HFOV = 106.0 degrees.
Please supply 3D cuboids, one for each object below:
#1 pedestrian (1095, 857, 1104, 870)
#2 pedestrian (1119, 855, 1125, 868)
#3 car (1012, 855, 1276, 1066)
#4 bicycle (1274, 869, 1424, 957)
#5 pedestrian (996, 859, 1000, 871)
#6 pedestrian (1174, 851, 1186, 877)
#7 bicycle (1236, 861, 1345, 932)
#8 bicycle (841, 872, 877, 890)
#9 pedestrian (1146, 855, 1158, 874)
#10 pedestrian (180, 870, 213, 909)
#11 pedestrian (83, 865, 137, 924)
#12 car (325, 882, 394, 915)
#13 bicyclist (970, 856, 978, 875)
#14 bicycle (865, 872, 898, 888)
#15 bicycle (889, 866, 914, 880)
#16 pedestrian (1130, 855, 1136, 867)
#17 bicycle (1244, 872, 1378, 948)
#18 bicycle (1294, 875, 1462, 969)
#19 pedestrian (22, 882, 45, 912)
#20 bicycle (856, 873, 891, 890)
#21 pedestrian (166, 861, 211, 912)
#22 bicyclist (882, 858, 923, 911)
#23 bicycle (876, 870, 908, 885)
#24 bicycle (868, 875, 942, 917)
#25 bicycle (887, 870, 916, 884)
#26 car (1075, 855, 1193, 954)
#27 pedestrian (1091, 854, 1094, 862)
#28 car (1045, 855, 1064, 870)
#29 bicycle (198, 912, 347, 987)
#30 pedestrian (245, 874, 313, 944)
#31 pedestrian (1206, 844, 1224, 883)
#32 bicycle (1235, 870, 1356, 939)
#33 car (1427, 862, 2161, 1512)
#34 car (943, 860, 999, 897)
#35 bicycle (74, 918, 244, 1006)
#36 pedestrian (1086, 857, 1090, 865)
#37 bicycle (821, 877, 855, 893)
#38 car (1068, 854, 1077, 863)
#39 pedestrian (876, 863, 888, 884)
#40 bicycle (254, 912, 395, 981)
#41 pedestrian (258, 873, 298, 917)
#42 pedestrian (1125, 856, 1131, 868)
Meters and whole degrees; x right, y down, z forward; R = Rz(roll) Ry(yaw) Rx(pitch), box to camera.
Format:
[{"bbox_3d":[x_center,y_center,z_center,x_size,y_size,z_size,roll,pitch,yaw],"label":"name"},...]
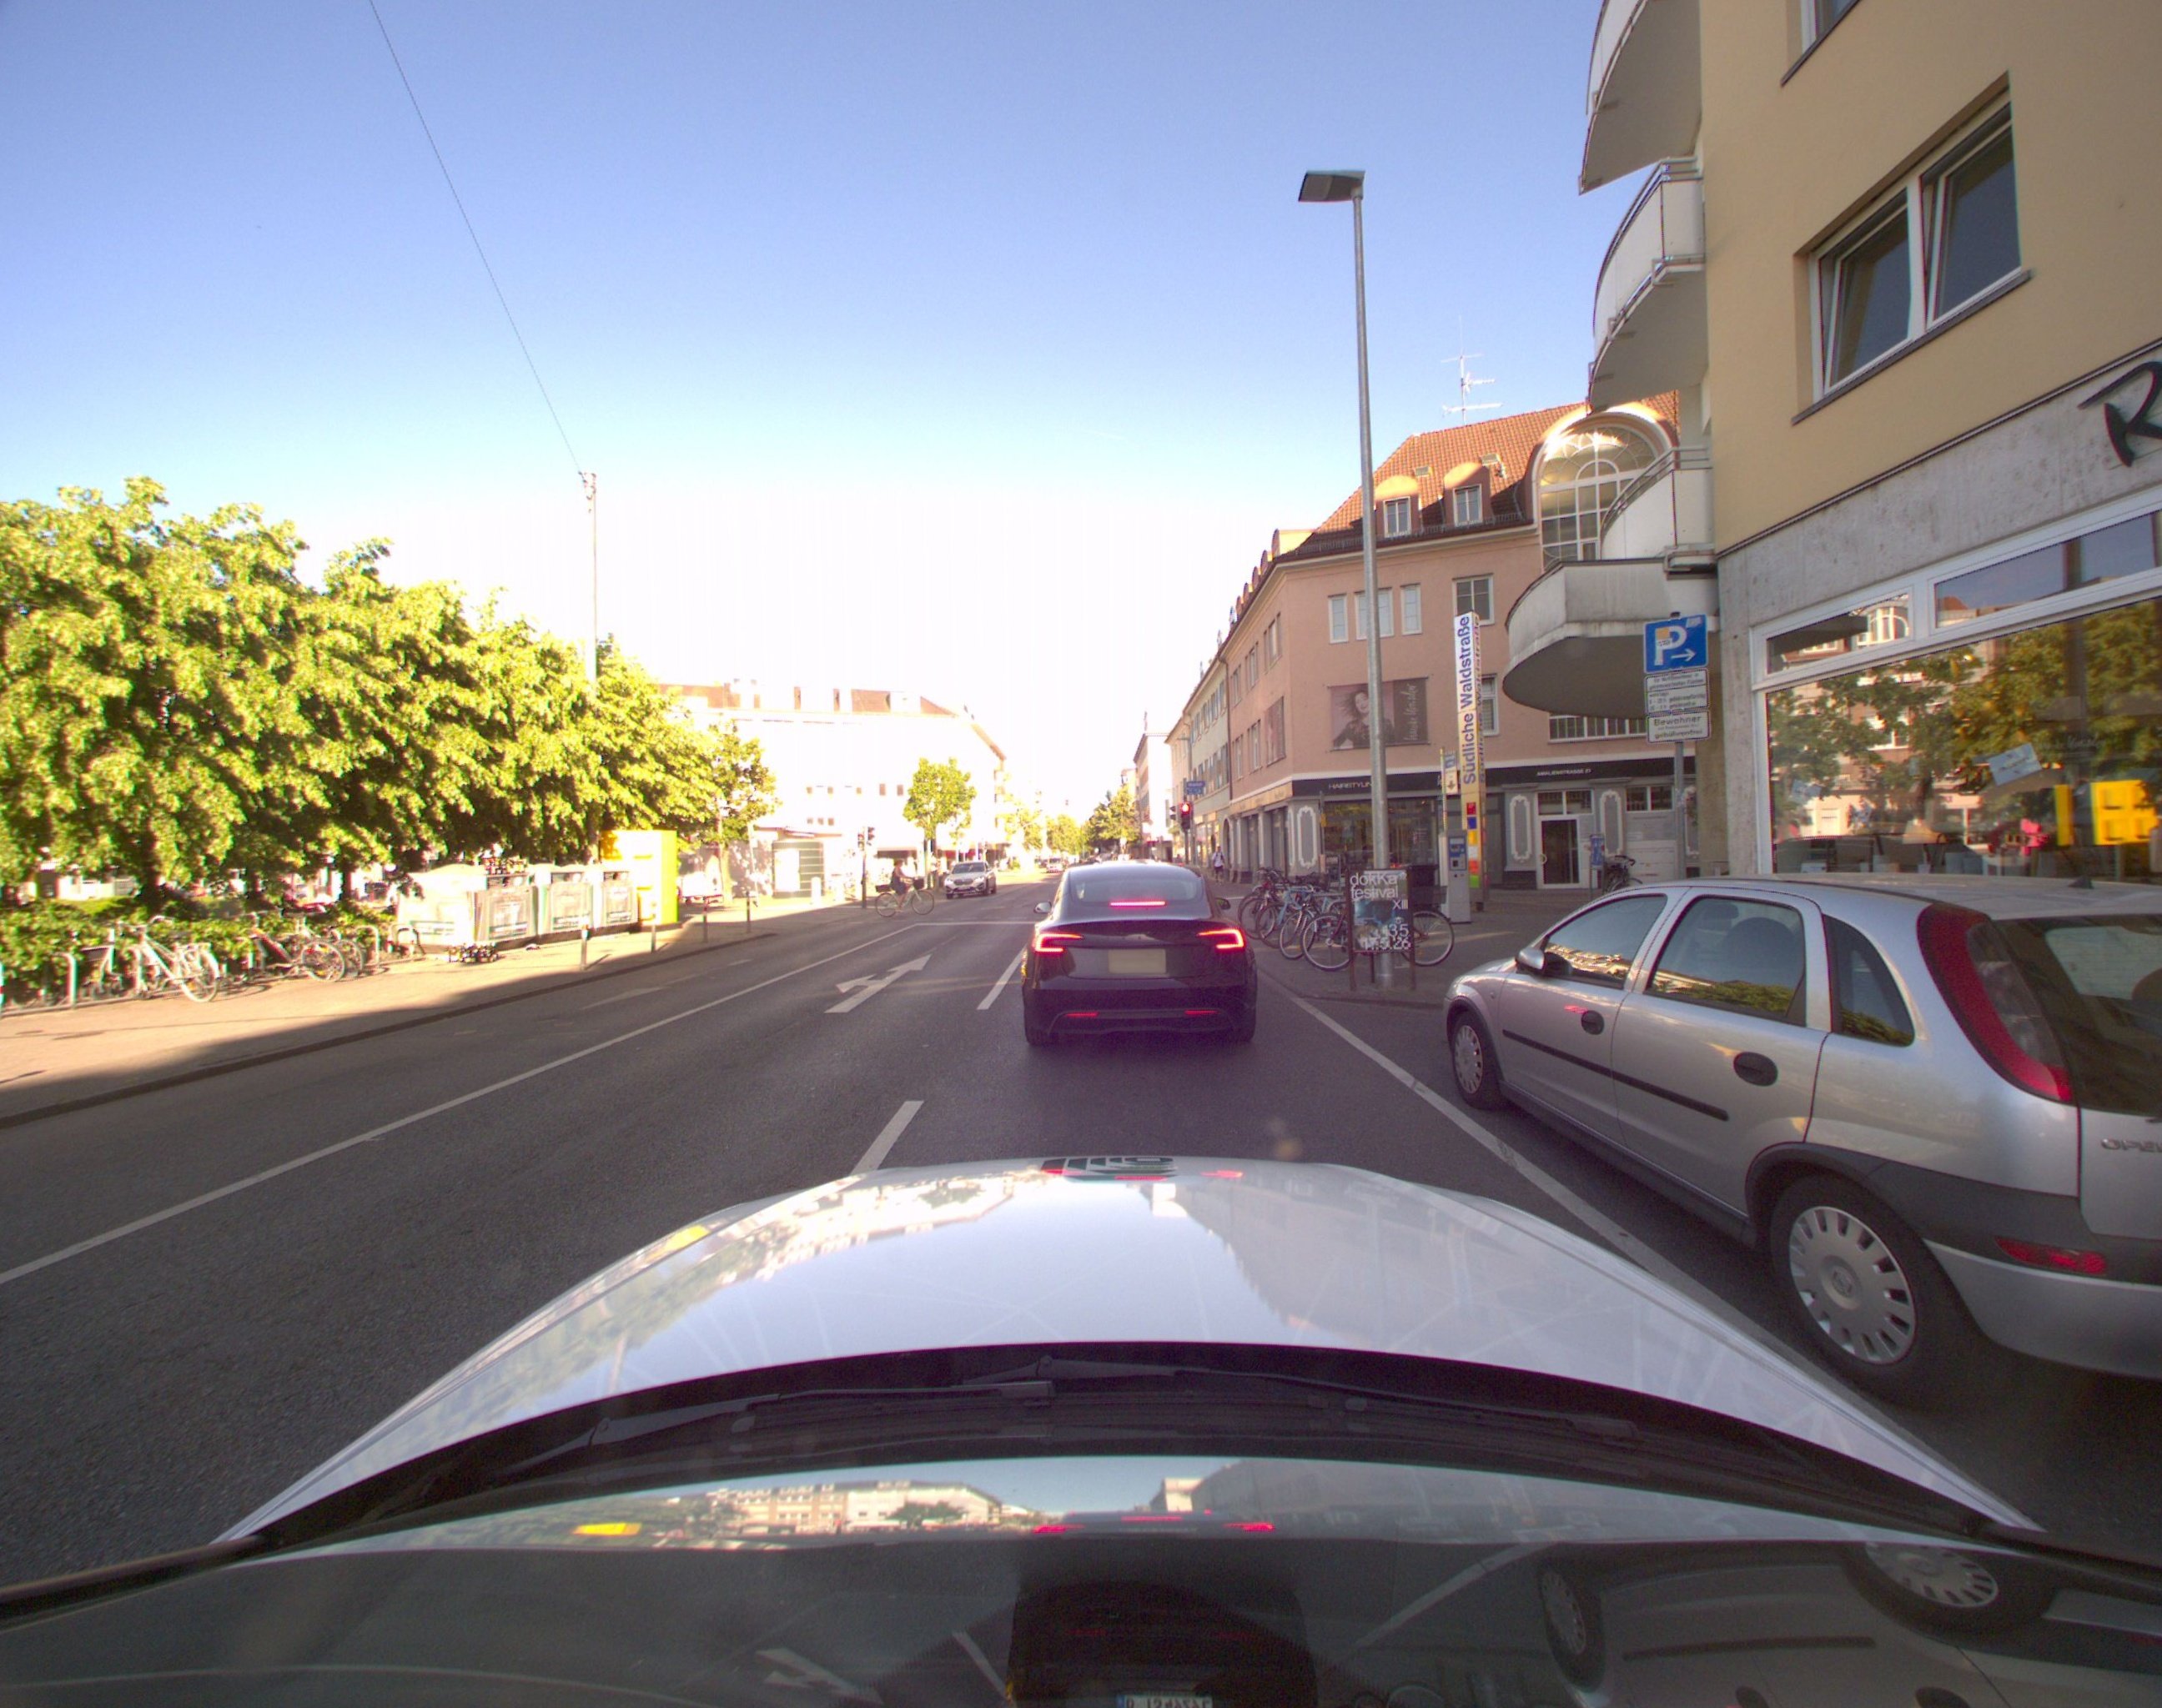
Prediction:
[{"bbox_3d":[2.374,1.188,104.866,0.719,1.695,0.843,-1,0,-26],"label":"pedestrian"},{"bbox_3d":[4.875,0.888,95.931,0.474,1.417,0.517,0,-1,-29],"label":"pedestrian"},{"bbox_3d":[0.503,0.760,7.696,1.815,1.442,4.001,-1,-1,2],"label":"car"},{"bbox_3d":[3.653,0.805,11.190,1.864,1.087,0.415,-3,-1,5],"label":"bicycle"},{"bbox_3d":[-9.965,1.277,97.463,0.459,1.460,0.517,-1,0,-3],"label":"pedestrian"},{"bbox_3d":[6.803,0.661,55.840,0.704,1.742,0.540,-1,0,1],"label":"pedestrian"},{"bbox_3d":[3.779,0.759,14.784,1.818,1.169,0.507,-3,-1,7],"label":"bicycle"},{"bbox_3d":[-12.445,1.501,45.651,1.857,0.934,0.606,-1,0,0],"label":"bicycle"},{"bbox_3d":[6.053,0.893,69.475,0.756,1.631,0.951,0,-1,-16],"label":"pedestrian"},{"bbox_3d":[-39.448,1.584,36.315,0.754,1.698,0.793,-1,0,25],"label":"pedestrian"},{"bbox_3d":[-34.116,1.406,28.619,0.890,2.013,0.893,-1,0,15],"label":"pedestrian"},{"bbox_3d":[-34.217,2.081,38.618,3.526,1.386,1.703,-1,0,36],"label":"car"},{"bbox_3d":[-8.776,0.917,66.536,0.525,1.503,0.473,0,-1,-23],"label":"bicyclist"},{"bbox_3d":[-12.284,1.603,50.170,1.857,0.934,0.606,0,-1,0],"label":"bicycle"},{"bbox_3d":[-17.257,1.814,78.328,2.373,1.296,0.509,0,-1,-25],"label":"bicycle"},{"bbox_3d":[6.121,0.849,95.805,0.524,1.422,0.475,0,-1,-28],"label":"pedestrian"},{"bbox_3d":[3.494,0.850,12.494,1.864,1.038,0.534,-3,-1,5],"label":"bicycle"},{"bbox_3d":[3.621,0.836,10.012,1.862,1.038,0.354,-3,-1,8],"label":"bicycle"},{"bbox_3d":[-77.902,3.221,60.583,0.891,2.171,0.882,-1,-1,26],"label":"pedestrian"},{"bbox_3d":[-12.159,1.612,47.691,1.857,0.934,0.606,0,-1,0],"label":"bicycle"},{"bbox_3d":[-36.248,1.297,33.085,0.890,2.013,0.893,-1,0,15],"label":"pedestrian"},{"bbox_3d":[-5.236,0.877,23.942,0.885,1.482,0.703,-4,-1,8],"label":"bicyclist"},{"bbox_3d":[-12.262,1.534,52.827,1.857,0.934,0.606,-1,0,0],"label":"bicycle"},{"bbox_3d":[-5.153,1.231,23.923,1.923,1.118,0.710,-4,-1,8],"label":"bicycle"},{"bbox_3d":[-12.182,1.553,55.275,1.857,0.934,0.606,-1,0,0],"label":"bicycle"},{"bbox_3d":[0.797,0.747,13.937,1.712,1.425,3.757,-1,0,0],"label":"car"},{"bbox_3d":[2.922,1.034,205.151,0.927,2.014,0.939,0,-1,1],"label":"pedestrian"},{"bbox_3d":[-2.875,0.924,89.537,1.780,1.646,4.404,0,-1,2],"label":"car"},{"bbox_3d":[-11.555,1.346,11.645,1.913,1.003,0.518,-1,-1,11],"label":"bicycle"},{"bbox_3d":[-23.836,1.611,24.228,1.051,2.014,0.971,0,-1,-10],"label":"pedestrian"},{"bbox_3d":[6.271,0.441,38.139,0.747,1.765,0.838,-1,-1,6],"label":"pedestrian"},{"bbox_3d":[3.567,0.840,13.679,1.863,1.038,0.548,-3,-1,7],"label":"bicycle"},{"bbox_3d":[2.948,0.748,3.516,1.540,1.390,3.479,-1,-1,3],"label":"car"},{"bbox_3d":[-4.855,1.043,36.404,1.782,1.460,3.759,-4,-1,2],"label":"car"},{"bbox_3d":[-11.621,1.338,10.273,1.919,1.015,0.518,-1,-1,12],"label":"bicycle"},{"bbox_3d":[1.848,1.739,205.393,0.927,2.014,0.939,0,-1,1],"label":"pedestrian"},{"bbox_3d":[-12.837,1.631,43.076,1.640,0.792,0.606,0,-1,-3],"label":"bicycle"},{"bbox_3d":[-1.937,1.004,187.386,1.986,2.013,4.001,0,0,1],"label":"car"},{"bbox_3d":[-19.067,1.870,77.961,1.060,2.014,1.049,0,-1,-18],"label":"pedestrian"},{"bbox_3d":[-11.319,1.370,12.197,1.888,0.955,0.518,-1,-1,11],"label":"bicycle"},{"bbox_3d":[-37.110,1.878,37.647,1.025,2.014,1.061,-1,-1,31],"label":"pedestrian"},{"bbox_3d":[5.455,0.975,95.103,0.524,1.422,0.475,0,-1,-28],"label":"pedestrian"}]
